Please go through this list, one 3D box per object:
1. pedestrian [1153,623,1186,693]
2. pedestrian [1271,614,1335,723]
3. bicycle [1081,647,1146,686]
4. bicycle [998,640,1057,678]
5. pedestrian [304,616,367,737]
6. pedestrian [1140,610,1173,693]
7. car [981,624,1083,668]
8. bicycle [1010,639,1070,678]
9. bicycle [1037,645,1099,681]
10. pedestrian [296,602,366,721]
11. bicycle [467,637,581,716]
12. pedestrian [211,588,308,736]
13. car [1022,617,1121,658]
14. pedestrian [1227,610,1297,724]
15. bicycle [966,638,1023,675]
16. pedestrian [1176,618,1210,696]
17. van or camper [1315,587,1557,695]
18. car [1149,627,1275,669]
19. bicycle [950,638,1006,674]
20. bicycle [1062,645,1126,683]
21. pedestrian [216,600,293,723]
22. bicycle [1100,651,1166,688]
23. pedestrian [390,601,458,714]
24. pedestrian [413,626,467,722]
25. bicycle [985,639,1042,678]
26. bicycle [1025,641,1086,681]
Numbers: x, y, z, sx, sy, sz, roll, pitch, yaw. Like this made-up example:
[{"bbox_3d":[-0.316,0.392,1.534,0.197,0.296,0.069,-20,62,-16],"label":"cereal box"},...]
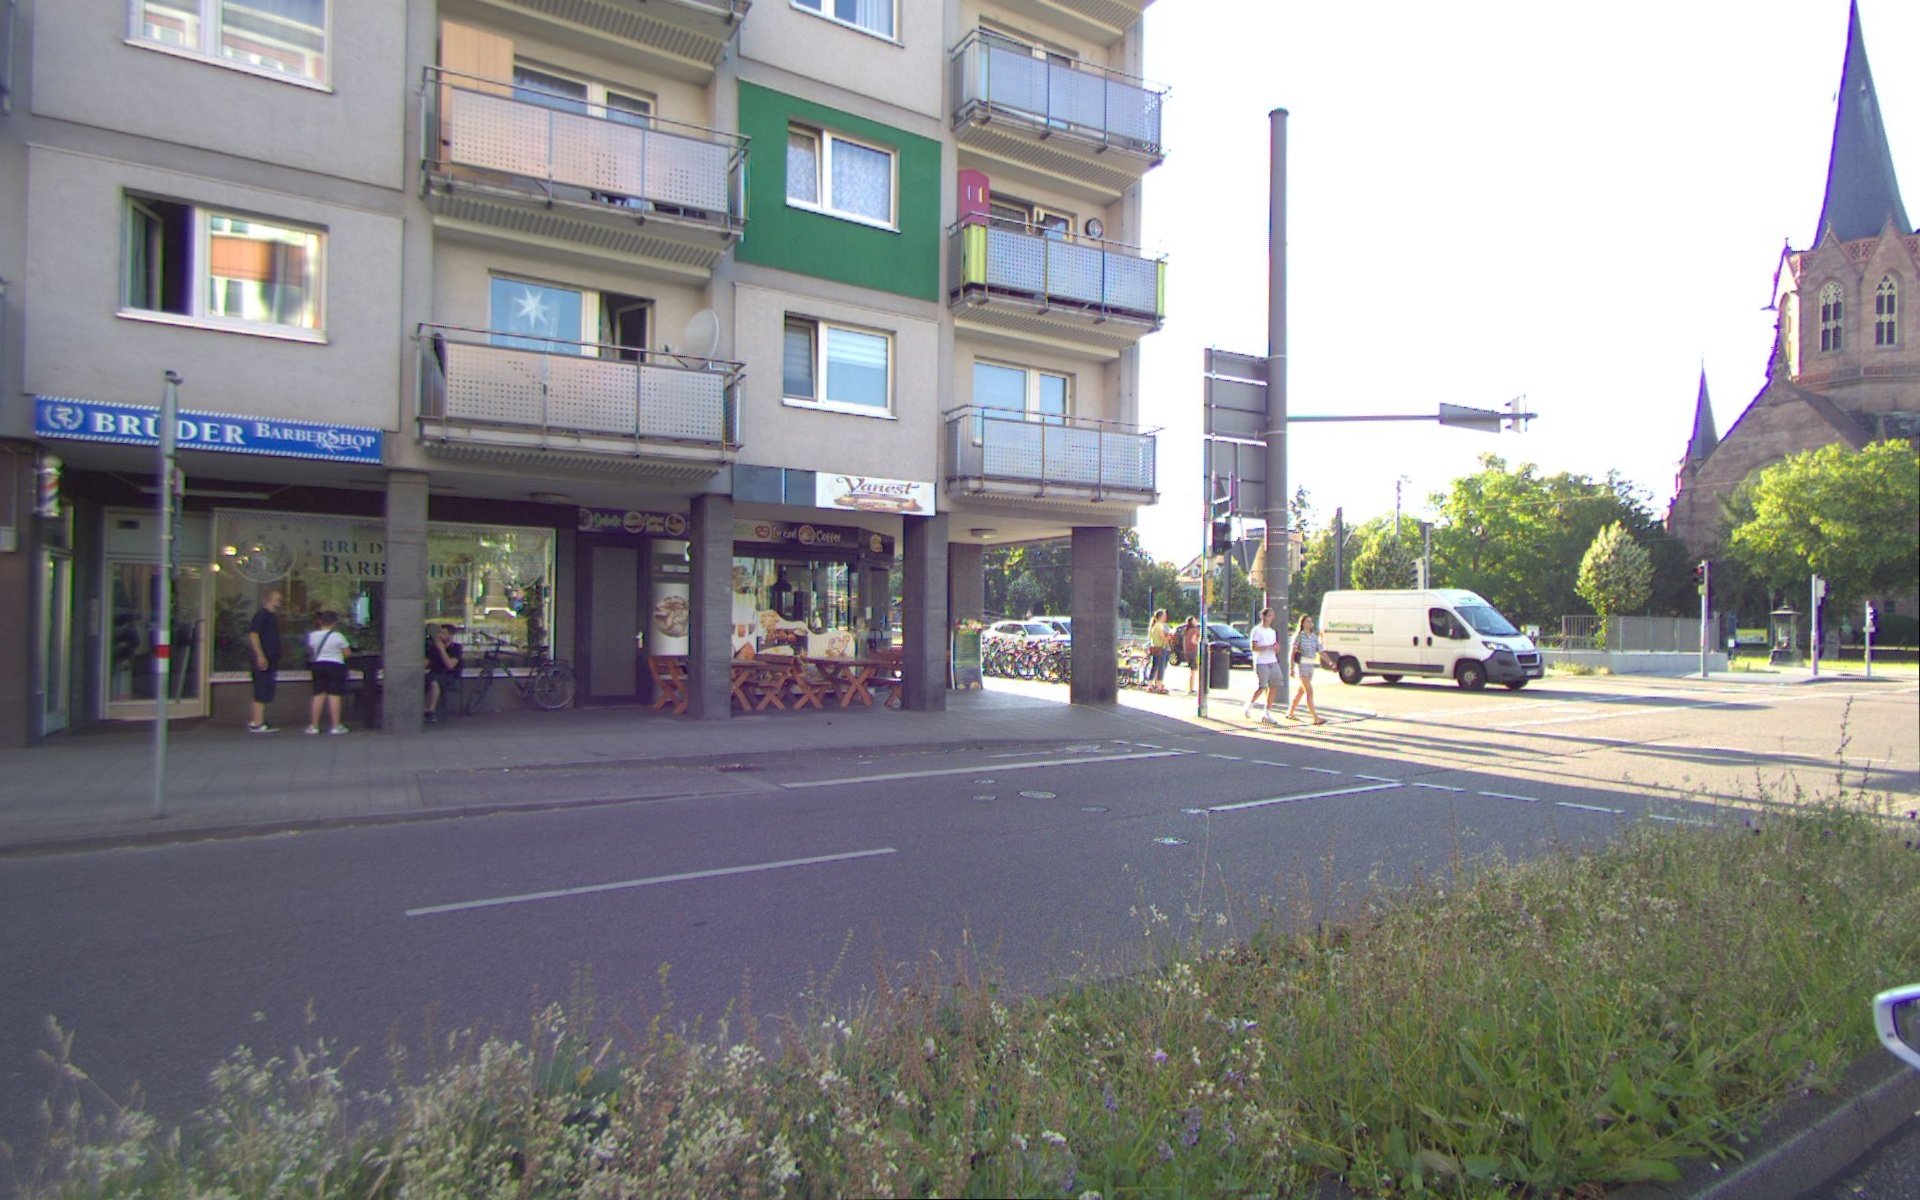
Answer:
[{"bbox_3d":[4.714,1.288,22.591,0.570,1.550,0.465,1,-1,-32],"label":"pedestrian"},{"bbox_3d":[5.611,1.098,16.452,0.664,1.731,0.752,1,-1,-22],"label":"pedestrian"},{"bbox_3d":[3.843,1.646,25.083,1.684,0.919,0.493,1,-1,-32],"label":"bicycle"},{"bbox_3d":[1.900,1.645,28.276,1.684,1.049,0.493,1,-1,-32],"label":"bicycle"},{"bbox_3d":[-7.398,0.890,11.918,0.472,1.402,0.484,1,-1,-11],"label":"pedestrian"},{"bbox_3d":[4.284,1.117,21.910,0.464,1.792,0.550,1,-1,-29],"label":"pedestrian"},{"bbox_3d":[2.853,1.812,40.738,1.938,1.640,4.461,1,-1,-31],"label":"car"},{"bbox_3d":[2.218,1.604,27.726,1.684,1.044,0.493,1,-1,-32],"label":"bicycle"},{"bbox_3d":[2.847,1.649,26.470,1.684,0.919,0.493,1,-1,-32],"label":"bicycle"},{"bbox_3d":[-8.740,0.836,13.973,0.778,1.599,0.558,1,-1,-30],"label":"pedestrian"},{"bbox_3d":[-6.406,1.109,14.777,1.441,1.095,0.584,2,-2,-34],"label":"bicycle"},{"bbox_3d":[-8.409,0.728,12.073,0.764,1.723,0.561,0,-1,13],"label":"pedestrian"},{"bbox_3d":[4.832,1.592,43.984,2.096,1.694,4.433,1,-1,-30],"label":"car"},{"bbox_3d":[4.874,1.060,16.244,0.664,1.781,0.921,1,-1,-22],"label":"pedestrian"},{"bbox_3d":[1.042,1.655,29.812,0.491,1.049,1.928,0,-2,45],"label":"bicycle"},{"bbox_3d":[5.022,1.221,21.622,0.566,1.663,0.468,1,-1,-11],"label":"pedestrian"},{"bbox_3d":[12.007,0.997,25.792,2.139,2.448,5.397,1,-1,-29],"label":"van or camper"},{"bbox_3d":[9.205,1.728,37.082,1.938,1.427,4.461,1,-1,-31],"label":"car"},{"bbox_3d":[0.569,1.691,30.409,0.491,1.049,1.928,0,-2,45],"label":"bicycle"},{"bbox_3d":[3.418,1.616,25.551,1.684,0.919,0.493,1,-1,-32],"label":"bicycle"},{"bbox_3d":[-9.460,0.809,13.491,0.778,1.599,0.558,1,-1,-30],"label":"pedestrian"},{"bbox_3d":[4.213,1.667,24.394,1.684,0.851,0.493,1,-1,-32],"label":"bicycle"},{"bbox_3d":[-7.819,0.819,14.652,0.780,1.599,0.557,1,-1,-37],"label":"pedestrian"},{"bbox_3d":[-7.044,0.989,13.622,0.522,1.256,0.556,1,-1,-16],"label":"pedestrian"},{"bbox_3d":[1.560,1.673,28.994,0.491,1.049,1.928,0,-2,45],"label":"bicycle"},{"bbox_3d":[2.576,1.632,27.049,1.684,1.052,0.493,1,-1,-32],"label":"bicycle"}]
